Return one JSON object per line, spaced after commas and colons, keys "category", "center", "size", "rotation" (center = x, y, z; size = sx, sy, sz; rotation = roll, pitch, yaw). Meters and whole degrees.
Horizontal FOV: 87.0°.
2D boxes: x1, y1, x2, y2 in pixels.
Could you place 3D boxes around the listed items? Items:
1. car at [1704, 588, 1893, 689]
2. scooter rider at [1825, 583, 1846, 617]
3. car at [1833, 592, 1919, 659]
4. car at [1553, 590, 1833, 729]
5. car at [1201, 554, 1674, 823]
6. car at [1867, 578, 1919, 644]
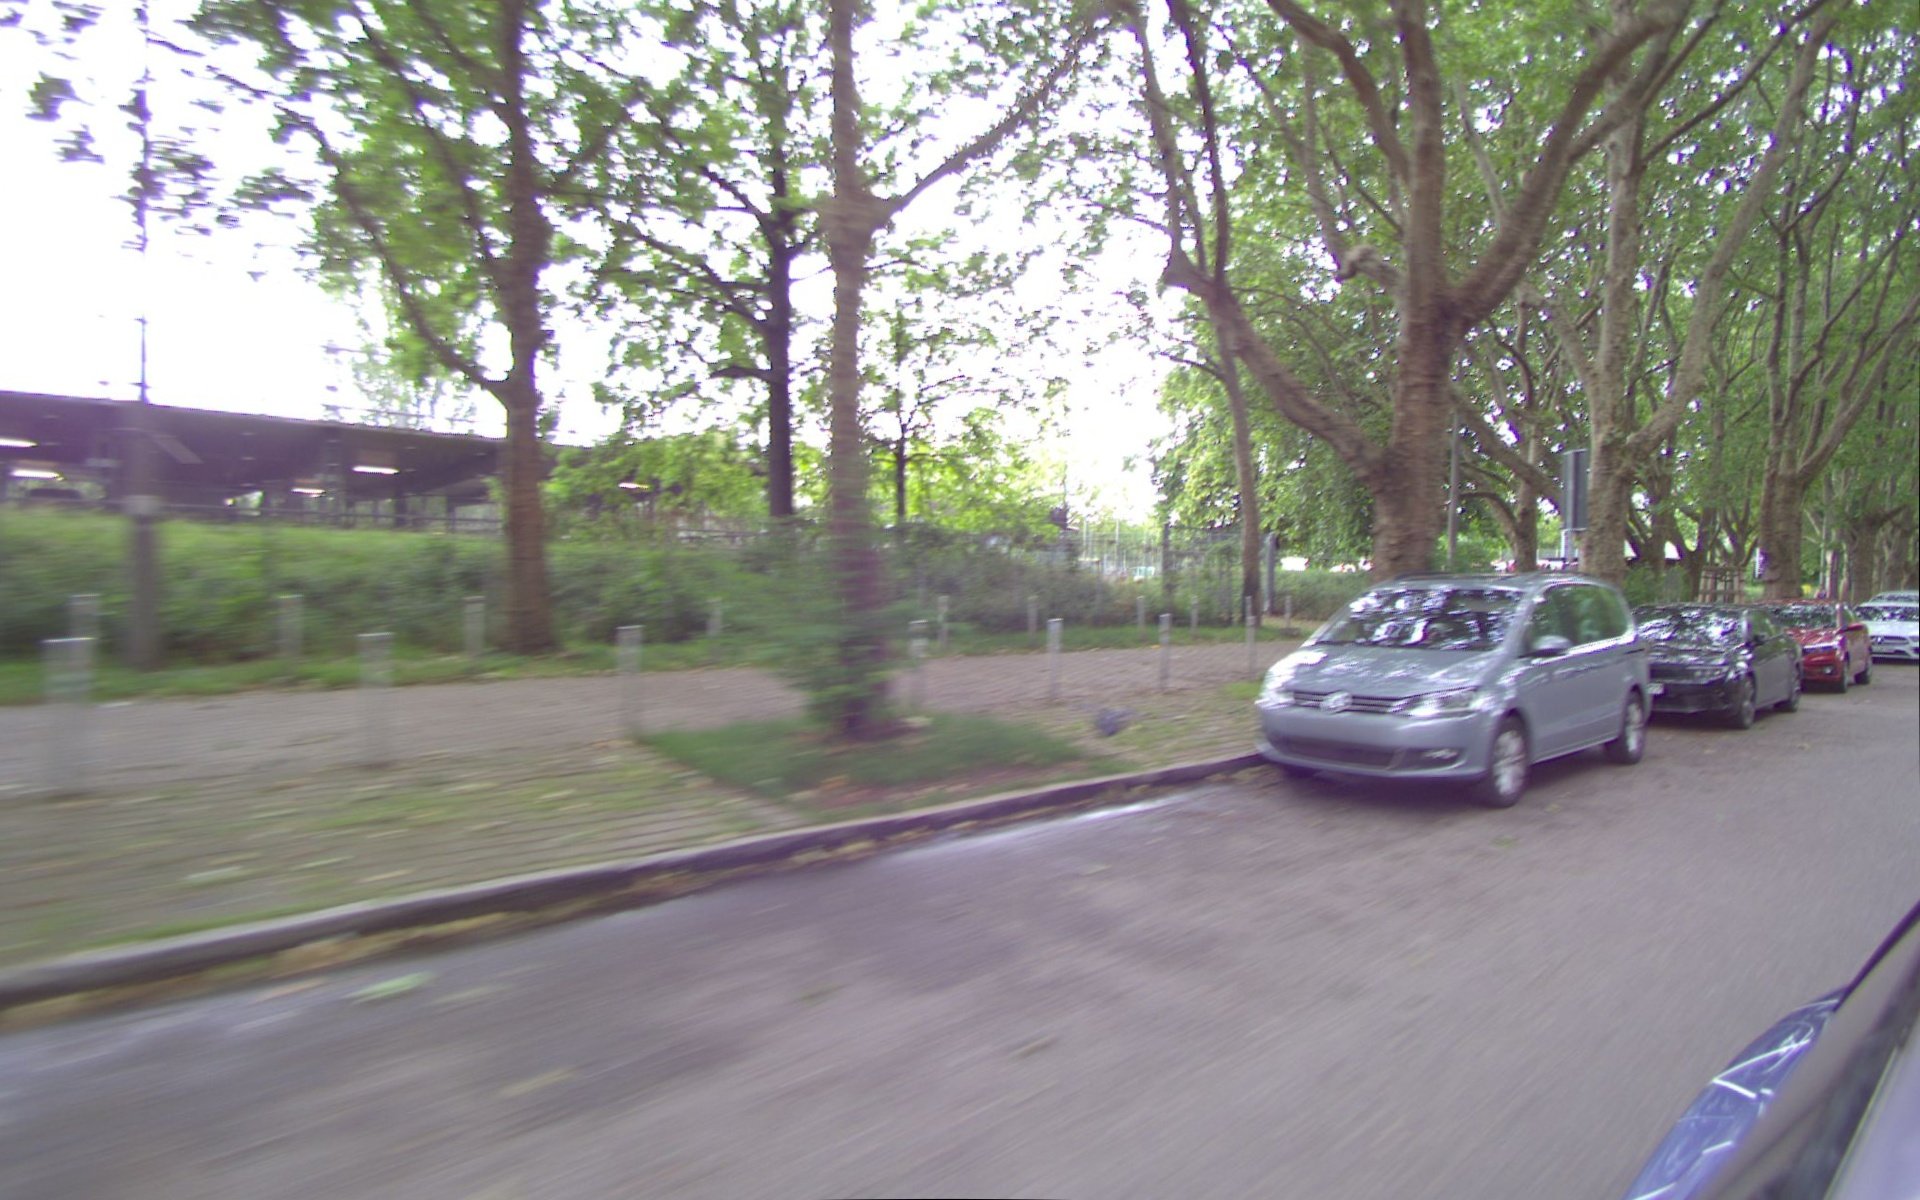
{"category": "car", "center": [14.519, 0.570, 17.453], "size": [4.105, 1.500, 1.860], "rotation": [0, 2, -41]}
{"category": "scooter rider", "center": [47.544, -0.002, 54.983], "size": [0.577, 1.821, 0.678], "rotation": [1, 3, -40]}
{"category": "car", "center": [22.741, 0.557, 24.477], "size": [4.507, 1.445, 1.880], "rotation": [0, 2, -42]}
{"category": "car", "center": [9.466, 0.622, 12.935], "size": [4.400, 1.445, 1.881], "rotation": [0, 2, -40]}
{"category": "car", "center": [4.279, 0.501, 8.685], "size": [4.650, 1.701, 1.985], "rotation": [-1, 2, -42]}
{"category": "car", "center": [27.206, 0.294, 28.502], "size": [4.427, 1.760, 1.906], "rotation": [0, 2, -41]}
